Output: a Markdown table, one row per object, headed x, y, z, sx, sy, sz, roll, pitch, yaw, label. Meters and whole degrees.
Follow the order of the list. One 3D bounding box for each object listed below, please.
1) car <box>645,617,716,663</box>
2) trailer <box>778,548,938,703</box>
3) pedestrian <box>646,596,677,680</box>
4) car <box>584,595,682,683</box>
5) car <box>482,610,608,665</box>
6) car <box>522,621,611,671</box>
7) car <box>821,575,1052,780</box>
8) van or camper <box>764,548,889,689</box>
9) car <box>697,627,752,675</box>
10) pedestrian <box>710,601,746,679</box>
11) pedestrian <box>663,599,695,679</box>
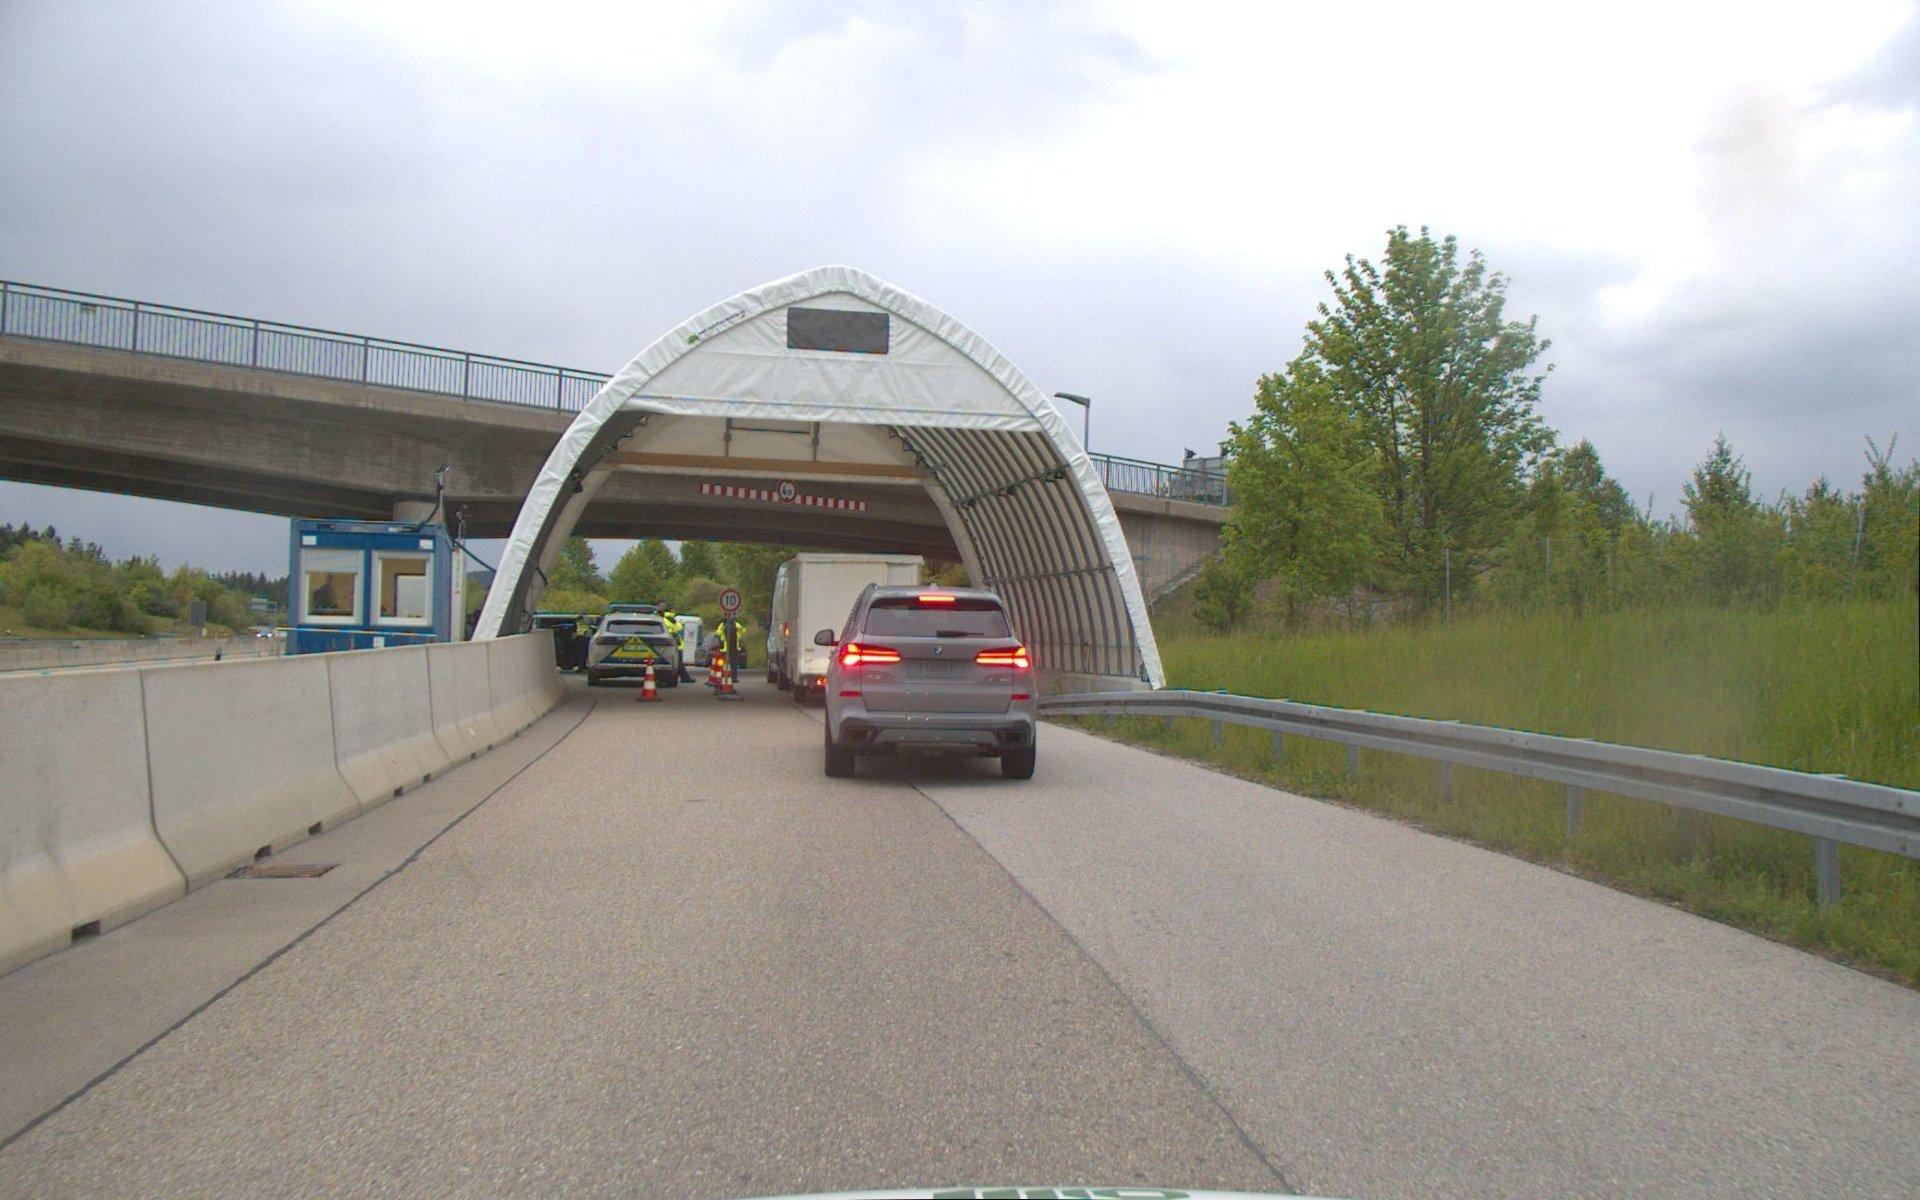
| x | y | z | sx | sy | sz | roll | pitch | yaw | label |
| --- | --- | --- | --- | --- | --- | --- | --- | --- | --- |
| -13.011 | 1.847 | 76.852 | 1.973 | 2.049 | 3.958 | 1 | -1 | -31 | car |
| -2.003 | 0.523 | 29.899 | 2.237 | 2.473 | 6.802 | 1 | -2 | -9 | trailer |
| -7.059 | 0.895 | 39.095 | 0.707 | 1.980 | 0.688 | 0 | -1 | -12 | pedestrian |
| -7.064 | 0.832 | 35.660 | 1.958 | 1.803 | 3.754 | 0 | -1 | -12 | car |
| -14.514 | 1.324 | 57.958 | 3.903 | 1.887 | 1.710 | 0 | -1 | 4 | car |
| -12.108 | 1.396 | 50.753 | 1.503 | 1.467 | 3.271 | 1 | -1 | -37 | car |
| -0.362 | 0.722 | 16.282 | 1.955 | 1.750 | 3.995 | 1 | -1 | -5 | car |
| -3.005 | 0.469 | 36.104 | 2.118 | 2.812 | 5.855 | 1 | -2 | -11 | van or camper |
| -9.622 | 2.035 | 67.457 | 1.676 | 1.887 | 3.981 | 0 | -1 | -17 | car |
| -5.452 | 0.945 | 38.841 | 0.641 | 1.807 | 0.599 | 1 | -2 | -31 | pedestrian |
| -6.469 | 0.897 | 38.086 | 0.707 | 1.807 | 0.688 | 0 | -1 | -12 | pedestrian |
